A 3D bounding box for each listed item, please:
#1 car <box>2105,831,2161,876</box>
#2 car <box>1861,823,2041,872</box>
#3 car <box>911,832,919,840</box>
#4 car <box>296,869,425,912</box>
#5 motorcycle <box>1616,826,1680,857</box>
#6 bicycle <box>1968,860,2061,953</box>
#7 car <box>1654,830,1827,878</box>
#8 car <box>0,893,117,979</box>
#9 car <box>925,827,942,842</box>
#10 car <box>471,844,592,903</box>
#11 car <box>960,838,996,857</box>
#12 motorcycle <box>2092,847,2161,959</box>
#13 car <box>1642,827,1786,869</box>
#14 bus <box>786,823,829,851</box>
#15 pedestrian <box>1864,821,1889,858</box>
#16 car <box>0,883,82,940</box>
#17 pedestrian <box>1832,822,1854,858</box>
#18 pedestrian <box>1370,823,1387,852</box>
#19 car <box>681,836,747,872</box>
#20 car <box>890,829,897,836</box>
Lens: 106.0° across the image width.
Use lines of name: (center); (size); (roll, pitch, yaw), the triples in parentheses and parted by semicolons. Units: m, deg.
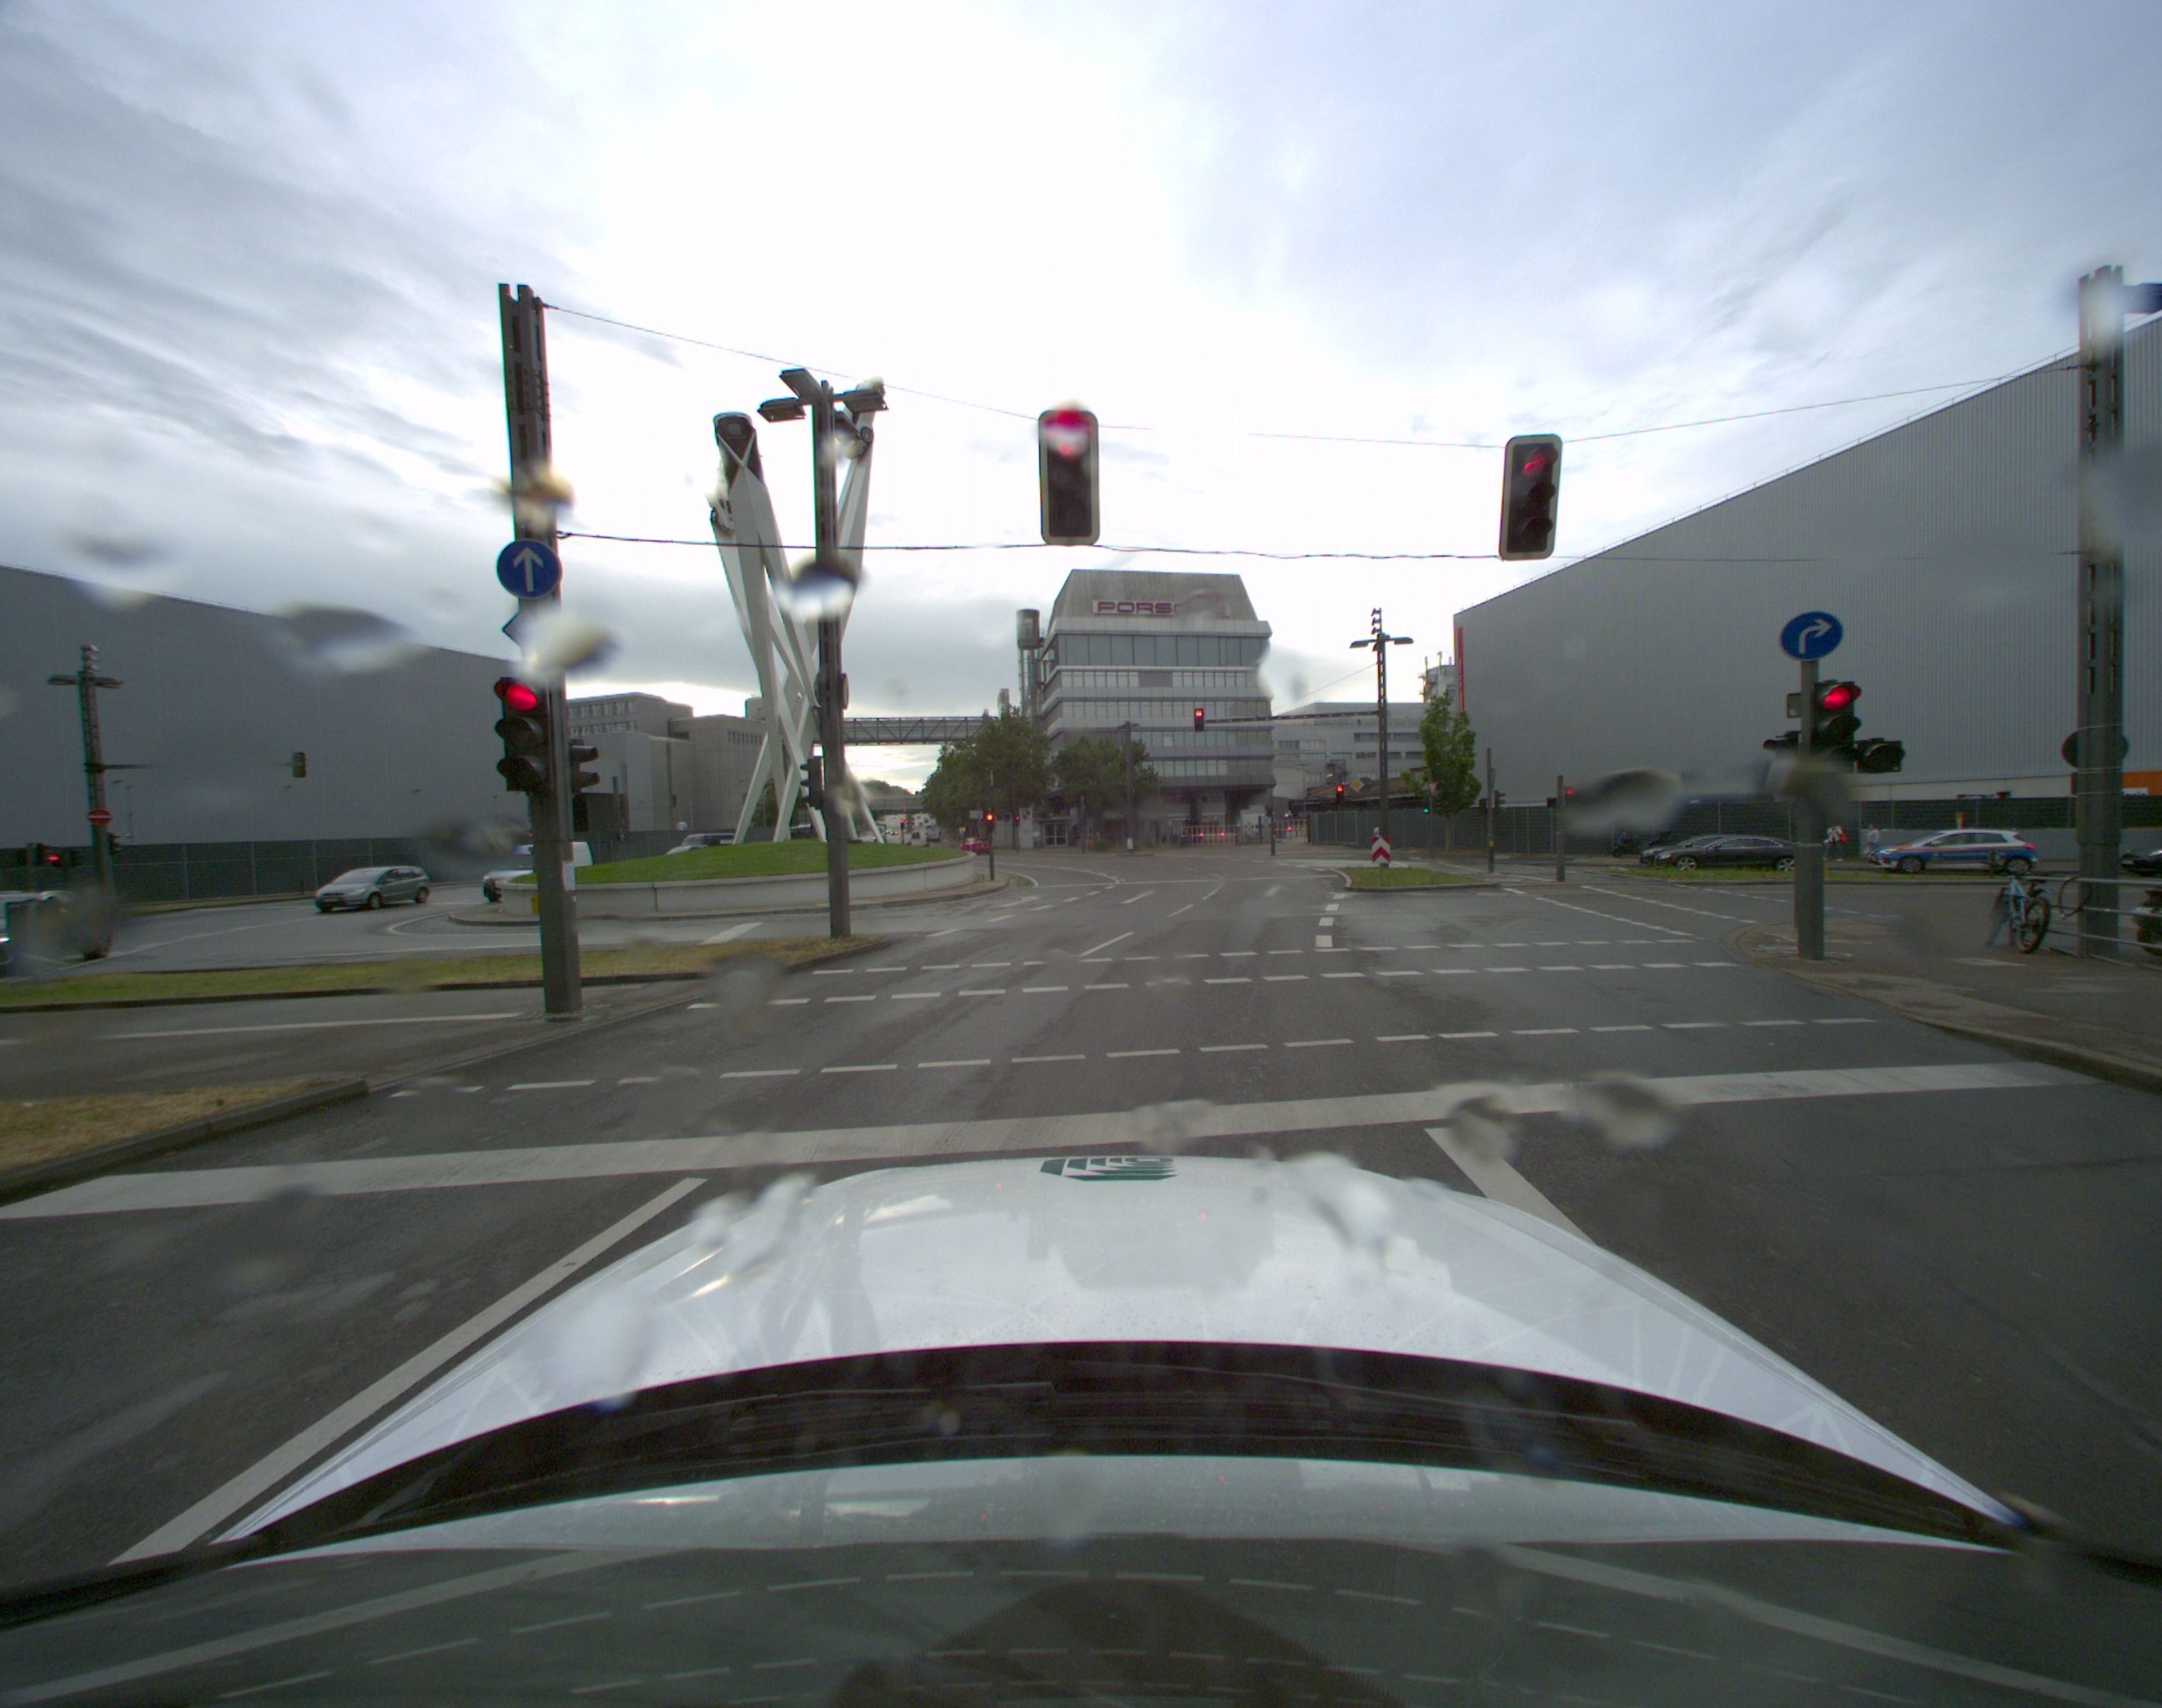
car: (35.496, -0.038, 25.465); (3.949, 1.392, 1.769); (0, 2, 32)
car: (30.299, -0.236, 28.550); (3.930, 1.601, 1.924); (0, 1, 32)
car: (-33.250, -3.600, 162.971); (1.558, 1.288, 3.399); (-2, -1, -12)
car: (-28.977, 1.422, 32.918); (1.830, 1.494, 3.993); (-2, 0, -5)
motorcycle: (25.957, -0.564, 37.345); (2.330, 1.344, 0.657); (-1, 1, 30)
bicycle: (12.478, 0.661, 10.926); (0.381, 1.097, 1.762); (-2, 0, 35)
car: (22.810, -0.026, 28.425); (4.525, 1.539, 1.769); (0, 2, 32)
car: (-20.177, 1.504, 15.165); (1.859, 1.338, 3.957); (-2, 0, -35)
car: (-23.749, -3.120, 130.782); (2.236, 2.108, 4.929); (-2, -1, -15)
car: (-25.239, 0.803, 37.726); (1.989, 2.447, 5.421); (-2, 1, -3)
car: (-8.759, -0.530, 69.101); (1.783, 1.464, 3.698); (-1, -1, -28)
motorcycle: (15.232, 0.628, 10.843); (2.213, 1.452, 0.759); (-1, 0, 13)
car: (24.348, -0.264, 31.528); (4.244, 1.539, 1.769); (0, 2, 32)
bus: (-33.965, -2.073, 101.677); (2.667, 3.200, 12.636); (-1, 0, -7)
pedestrian: (32.206, -0.596, 32.978); (0.642, 1.481, 0.442); (-1, 0, 35)
car: (-30.430, 1.634, 22.227); (1.839, 1.472, 4.484); (-2, 0, -19)
pedestrian: (31.431, -0.573, 33.598); (0.605, 1.481, 0.426); (-1, 0, 38)
pedestrian: (16.544, -0.904, 45.255); (0.801, 1.611, 0.773); (-2, -1, 19)
car: (-30.744, -0.066, 68.622); (1.958, 2.820, 7.133); (-2, 0, 3)
car: (-48.402, -5.582, 210.501); (1.629, 1.816, 3.717); (-1, 1, -12)
